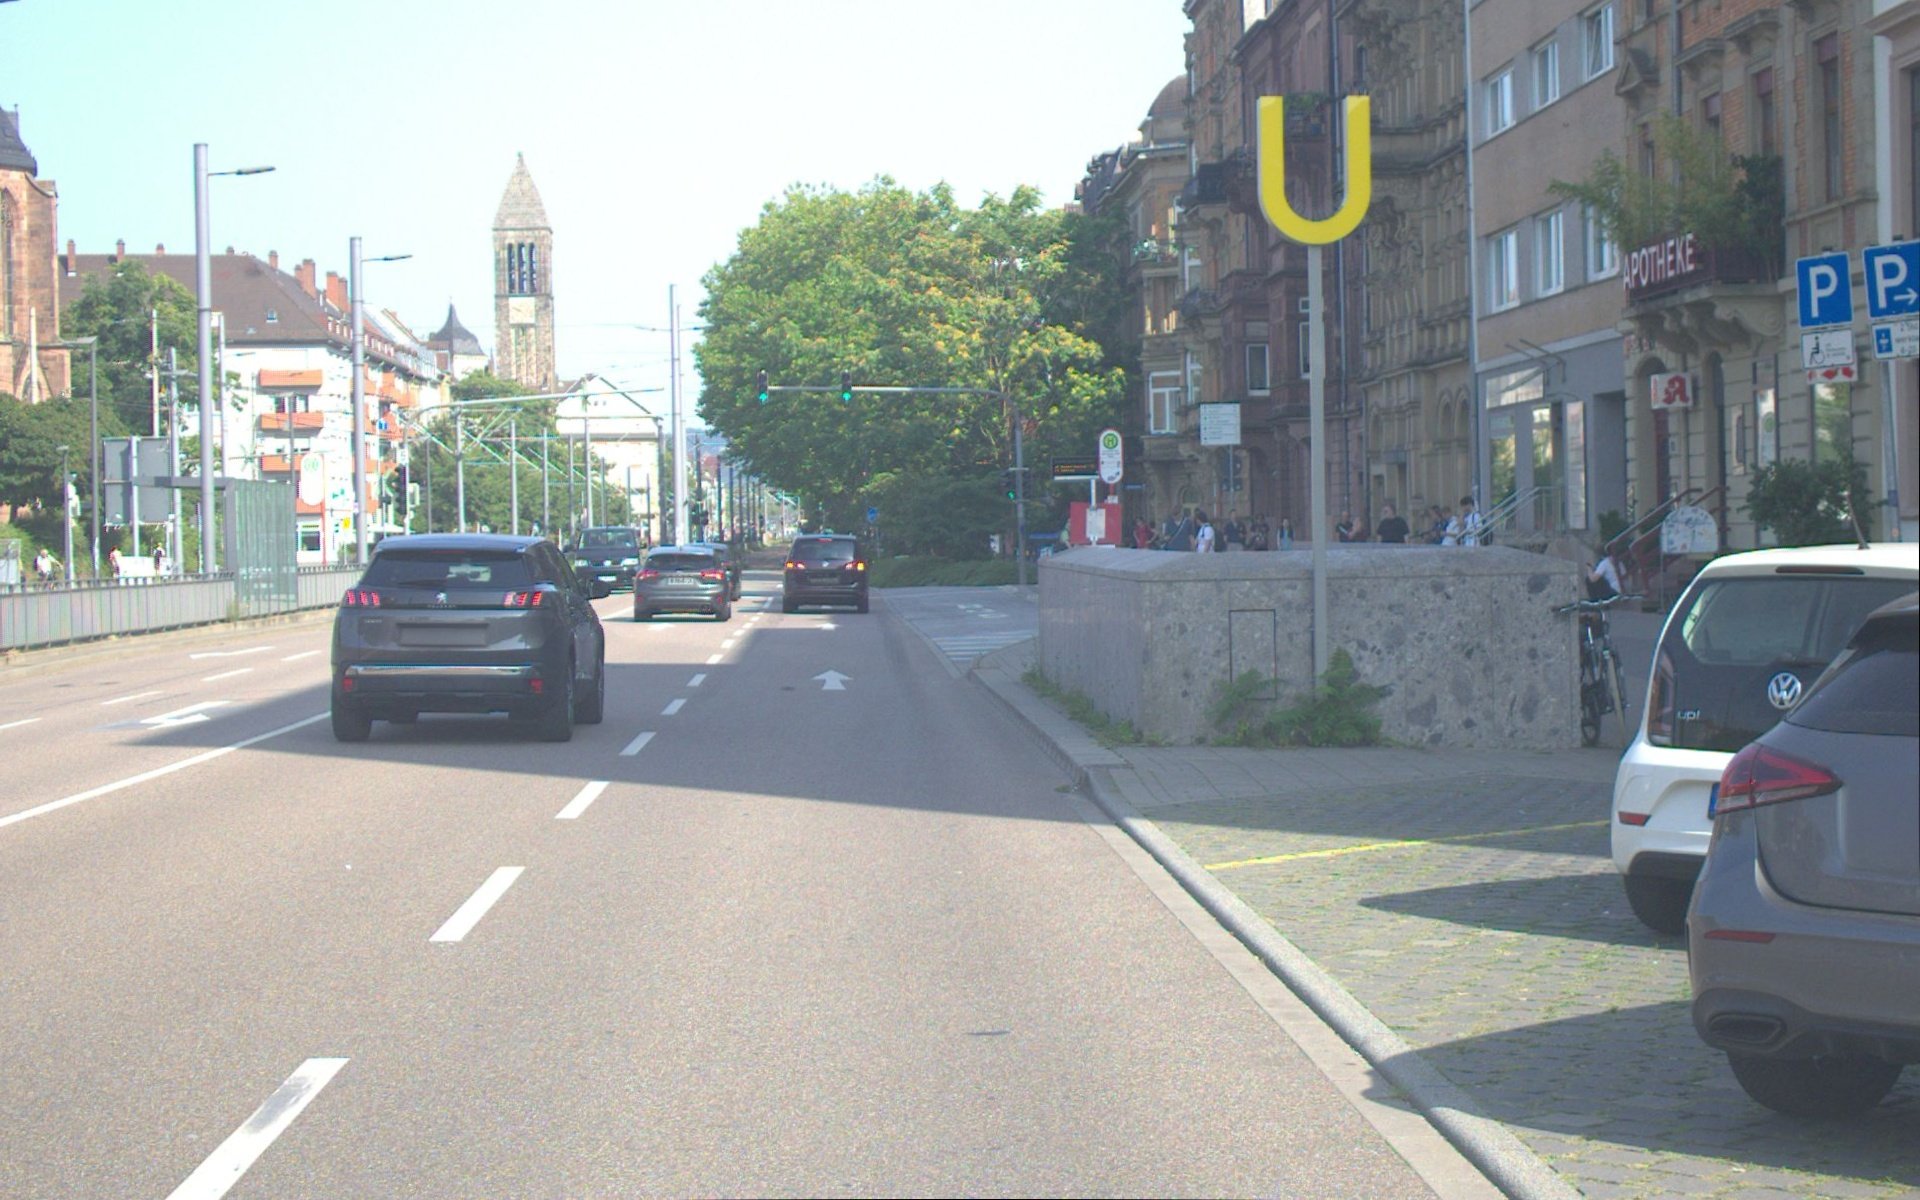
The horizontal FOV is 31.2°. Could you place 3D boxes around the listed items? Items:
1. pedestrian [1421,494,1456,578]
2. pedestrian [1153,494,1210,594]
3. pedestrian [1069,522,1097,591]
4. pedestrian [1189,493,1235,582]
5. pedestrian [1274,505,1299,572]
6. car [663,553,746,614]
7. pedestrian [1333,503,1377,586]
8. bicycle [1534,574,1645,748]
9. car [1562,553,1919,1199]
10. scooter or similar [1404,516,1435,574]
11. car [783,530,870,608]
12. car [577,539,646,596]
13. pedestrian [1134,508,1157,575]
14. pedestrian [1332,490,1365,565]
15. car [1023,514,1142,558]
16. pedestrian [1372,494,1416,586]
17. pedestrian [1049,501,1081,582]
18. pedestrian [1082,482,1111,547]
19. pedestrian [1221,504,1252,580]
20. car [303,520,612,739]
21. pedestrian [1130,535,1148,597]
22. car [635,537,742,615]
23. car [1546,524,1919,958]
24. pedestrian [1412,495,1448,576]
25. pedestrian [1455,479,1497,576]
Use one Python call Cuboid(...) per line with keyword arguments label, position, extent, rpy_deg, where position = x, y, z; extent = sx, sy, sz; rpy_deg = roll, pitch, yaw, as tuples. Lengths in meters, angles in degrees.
Cuboid(label="pedestrian", position=(9.936, -1.338, 71.393), extent=(0.603, 1.725, 0.511), rpy_deg=(-1, 1, -5))
Cuboid(label="pedestrian", position=(4.124, -1.042, 64.007), extent=(0.925, 1.825, 0.801), rpy_deg=(-1, 1, -5))
Cuboid(label="pedestrian", position=(2.890, -1.018, 80.886), extent=(0.528, 1.606, 0.703), rpy_deg=(-1, 1, -5))
Cuboid(label="pedestrian", position=(4.986, -1.236, 67.951), extent=(0.749, 1.723, 0.801), rpy_deg=(-1, 1, -5))
Cuboid(label="pedestrian", position=(7.853, -1.479, 82.618), extent=(0.486, 1.604, 0.813), rpy_deg=(-1, 1, -1))
Cuboid(label="car", position=(-6.354, -0.430, 85.839), extent=(1.864, 1.419, 4.357), rpy_deg=(0, 1, -2))
Cuboid(label="pedestrian", position=(7.742, -1.087, 67.454), extent=(0.720, 1.604, 0.856), rpy_deg=(-1, 1, -1))
Cuboid(label="bicycle", position=(4.372, 0.405, 23.959), extent=(0.383, 1.130, 1.790), rpy_deg=(-1, 1, -2))
Cuboid(label="car", position=(3.675, 0.571, 9.067), extent=(4.397, 1.418, 1.847), rpy_deg=(-2, 1, -44))
Cuboid(label="scooter or similar", position=(9.388, -1.130, 70.259), extent=(0.360, 1.159, 1.152), rpy_deg=(-1, 1, -5))
Cuboid(label="car", position=(-2.894, -0.701, 74.977), extent=(1.831, 1.615, 4.357), rpy_deg=(0, 1, -2))
Cuboid(label="car", position=(-9.967, -0.951, 98.570), extent=(1.740, 1.521, 3.874), rpy_deg=(-1, 1, -3))
Cuboid(label="pedestrian", position=(4.753, -1.503, 88.071), extent=(0.481, 1.696, 0.703), rpy_deg=(-1, 1, -5))
Cuboid(label="pedestrian", position=(8.944, -1.676, 79.254), extent=(0.629, 1.713, 0.691), rpy_deg=(-1, 1, -2))
Cuboid(label="car", position=(4.573, -2.413, 129.010), extent=(4.179, 1.558, 2.000), rpy_deg=(-1, 1, -6))
Cuboid(label="pedestrian", position=(8.508, -1.175, 67.459), extent=(0.720, 1.781, 0.856), rpy_deg=(-1, 1, -1))
Cuboid(label="pedestrian", position=(2.259, -1.256, 73.992), extent=(0.565, 1.723, 0.745), rpy_deg=(-1, 1, -5))
Cuboid(label="pedestrian", position=(3.527, -2.201, 88.752), extent=(0.690, 1.658, 0.619), rpy_deg=(-1, 1, -2))
Cuboid(label="pedestrian", position=(6.641, -1.387, 82.559), extent=(0.617, 1.798, 1.071), rpy_deg=(-1, 1, -1))
Cuboid(label="car", position=(-3.971, 0.174, 27.847), extent=(1.993, 1.615, 4.357), rpy_deg=(0, 1, -2))
Cuboid(label="pedestrian", position=(3.703, -0.698, 71.130), extent=(0.275, 1.270, 0.448), rpy_deg=(-1, 1, -9))
Cuboid(label="car", position=(-5.234, -0.495, 66.763), extent=(1.864, 1.419, 4.357), rpy_deg=(0, 1, -2))
Cuboid(label="car", position=(3.997, 0.434, 13.276), extent=(3.519, 1.459, 1.622), rpy_deg=(-2, 1, -44))
Cuboid(label="pedestrian", position=(9.915, -1.359, 72.469), extent=(0.603, 1.686, 0.587), rpy_deg=(-1, 1, -5))
Cuboid(label="pedestrian", position=(9.811, -1.376, 65.352), extent=(0.603, 1.825, 0.742), rpy_deg=(-1, 1, -5))
